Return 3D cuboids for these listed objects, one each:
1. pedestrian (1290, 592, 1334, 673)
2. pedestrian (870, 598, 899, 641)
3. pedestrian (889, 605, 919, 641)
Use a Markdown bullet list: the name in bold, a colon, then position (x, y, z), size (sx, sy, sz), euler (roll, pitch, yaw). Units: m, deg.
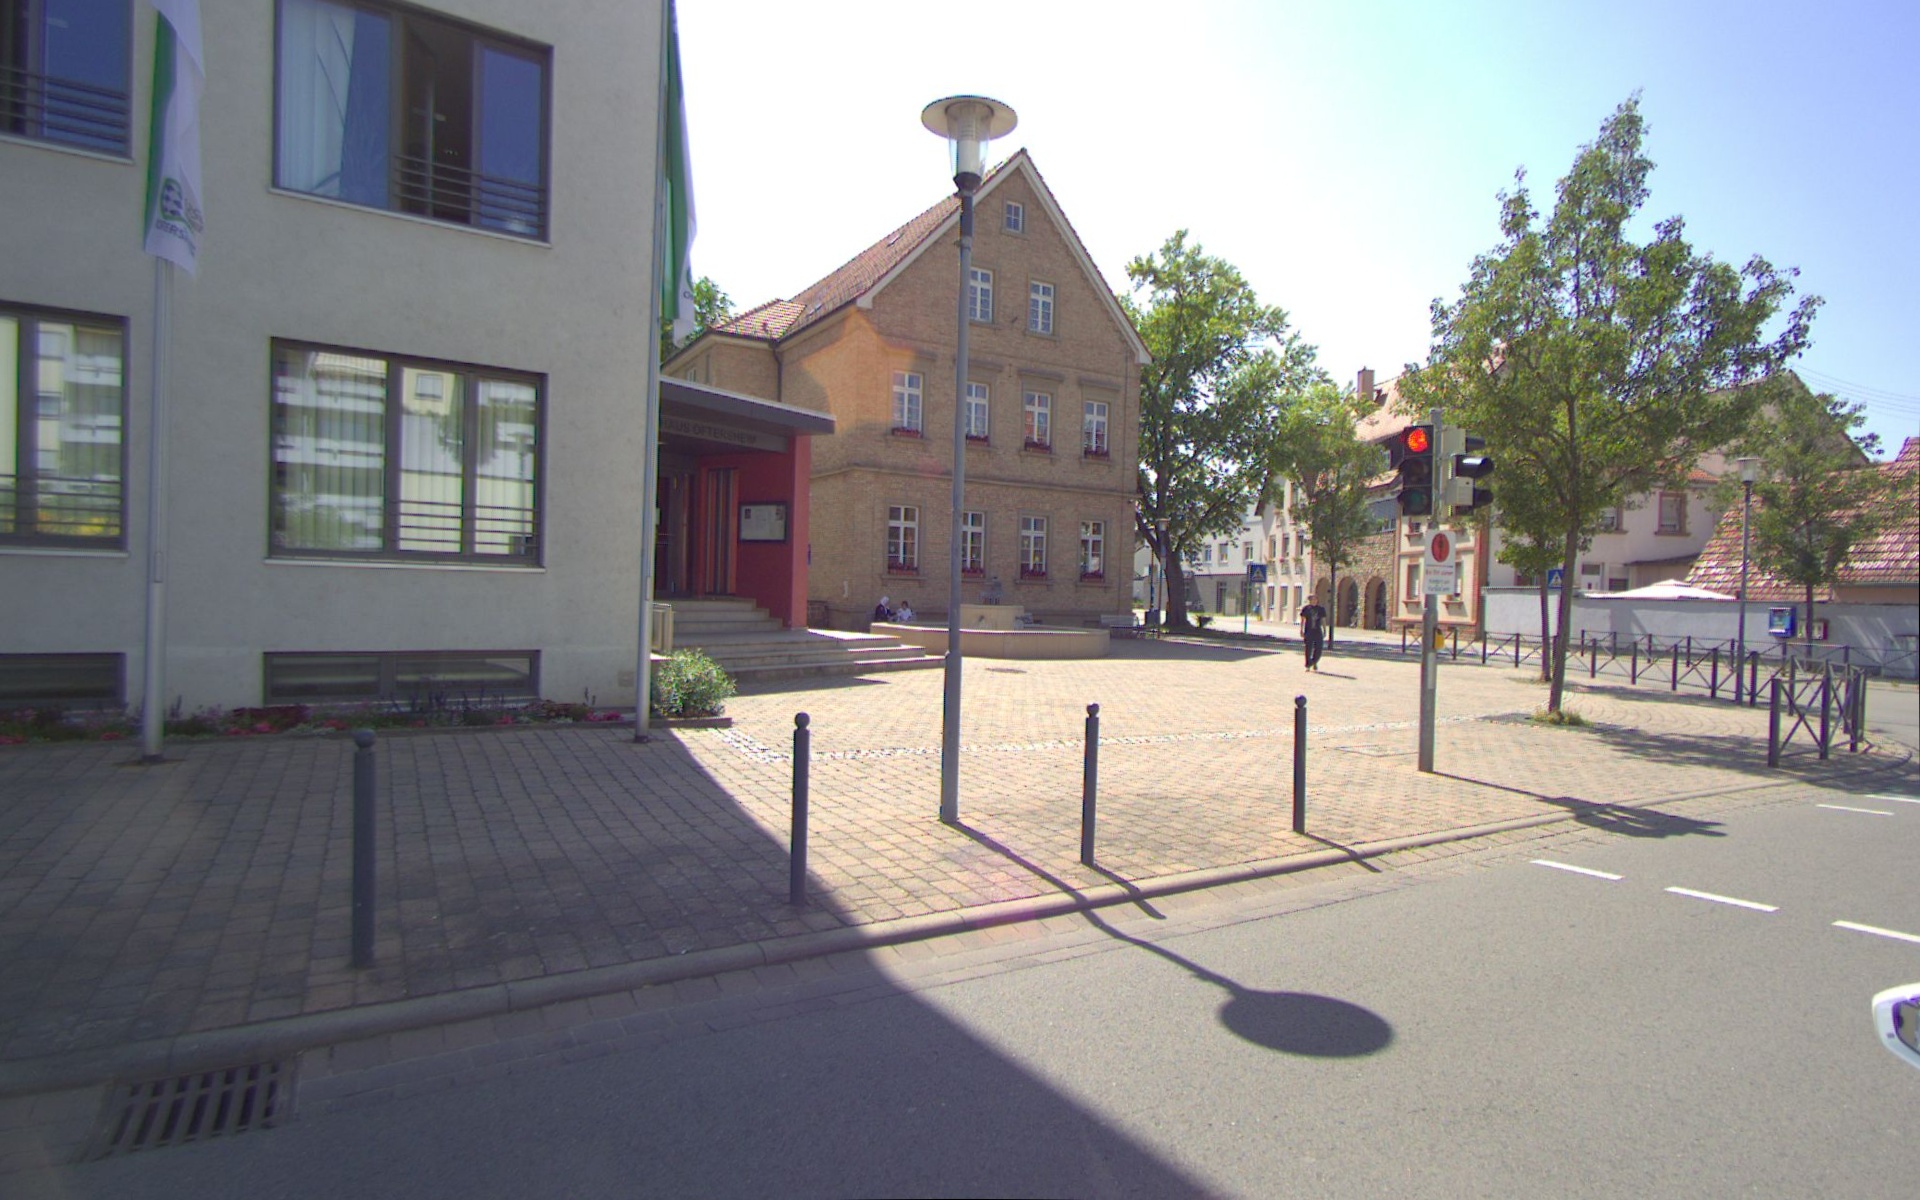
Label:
- **pedestrian**: position (7.570, 0.689, 21.636), size (0.798, 1.676, 0.851), euler (3, 1, 19)
- **pedestrian**: position (-2.179, 0.562, 28.901), size (0.611, 1.186, 0.636), euler (1, 1, -29)
- **pedestrian**: position (-1.637, 0.670, 29.301), size (0.611, 1.041, 0.636), euler (1, 1, -29)
